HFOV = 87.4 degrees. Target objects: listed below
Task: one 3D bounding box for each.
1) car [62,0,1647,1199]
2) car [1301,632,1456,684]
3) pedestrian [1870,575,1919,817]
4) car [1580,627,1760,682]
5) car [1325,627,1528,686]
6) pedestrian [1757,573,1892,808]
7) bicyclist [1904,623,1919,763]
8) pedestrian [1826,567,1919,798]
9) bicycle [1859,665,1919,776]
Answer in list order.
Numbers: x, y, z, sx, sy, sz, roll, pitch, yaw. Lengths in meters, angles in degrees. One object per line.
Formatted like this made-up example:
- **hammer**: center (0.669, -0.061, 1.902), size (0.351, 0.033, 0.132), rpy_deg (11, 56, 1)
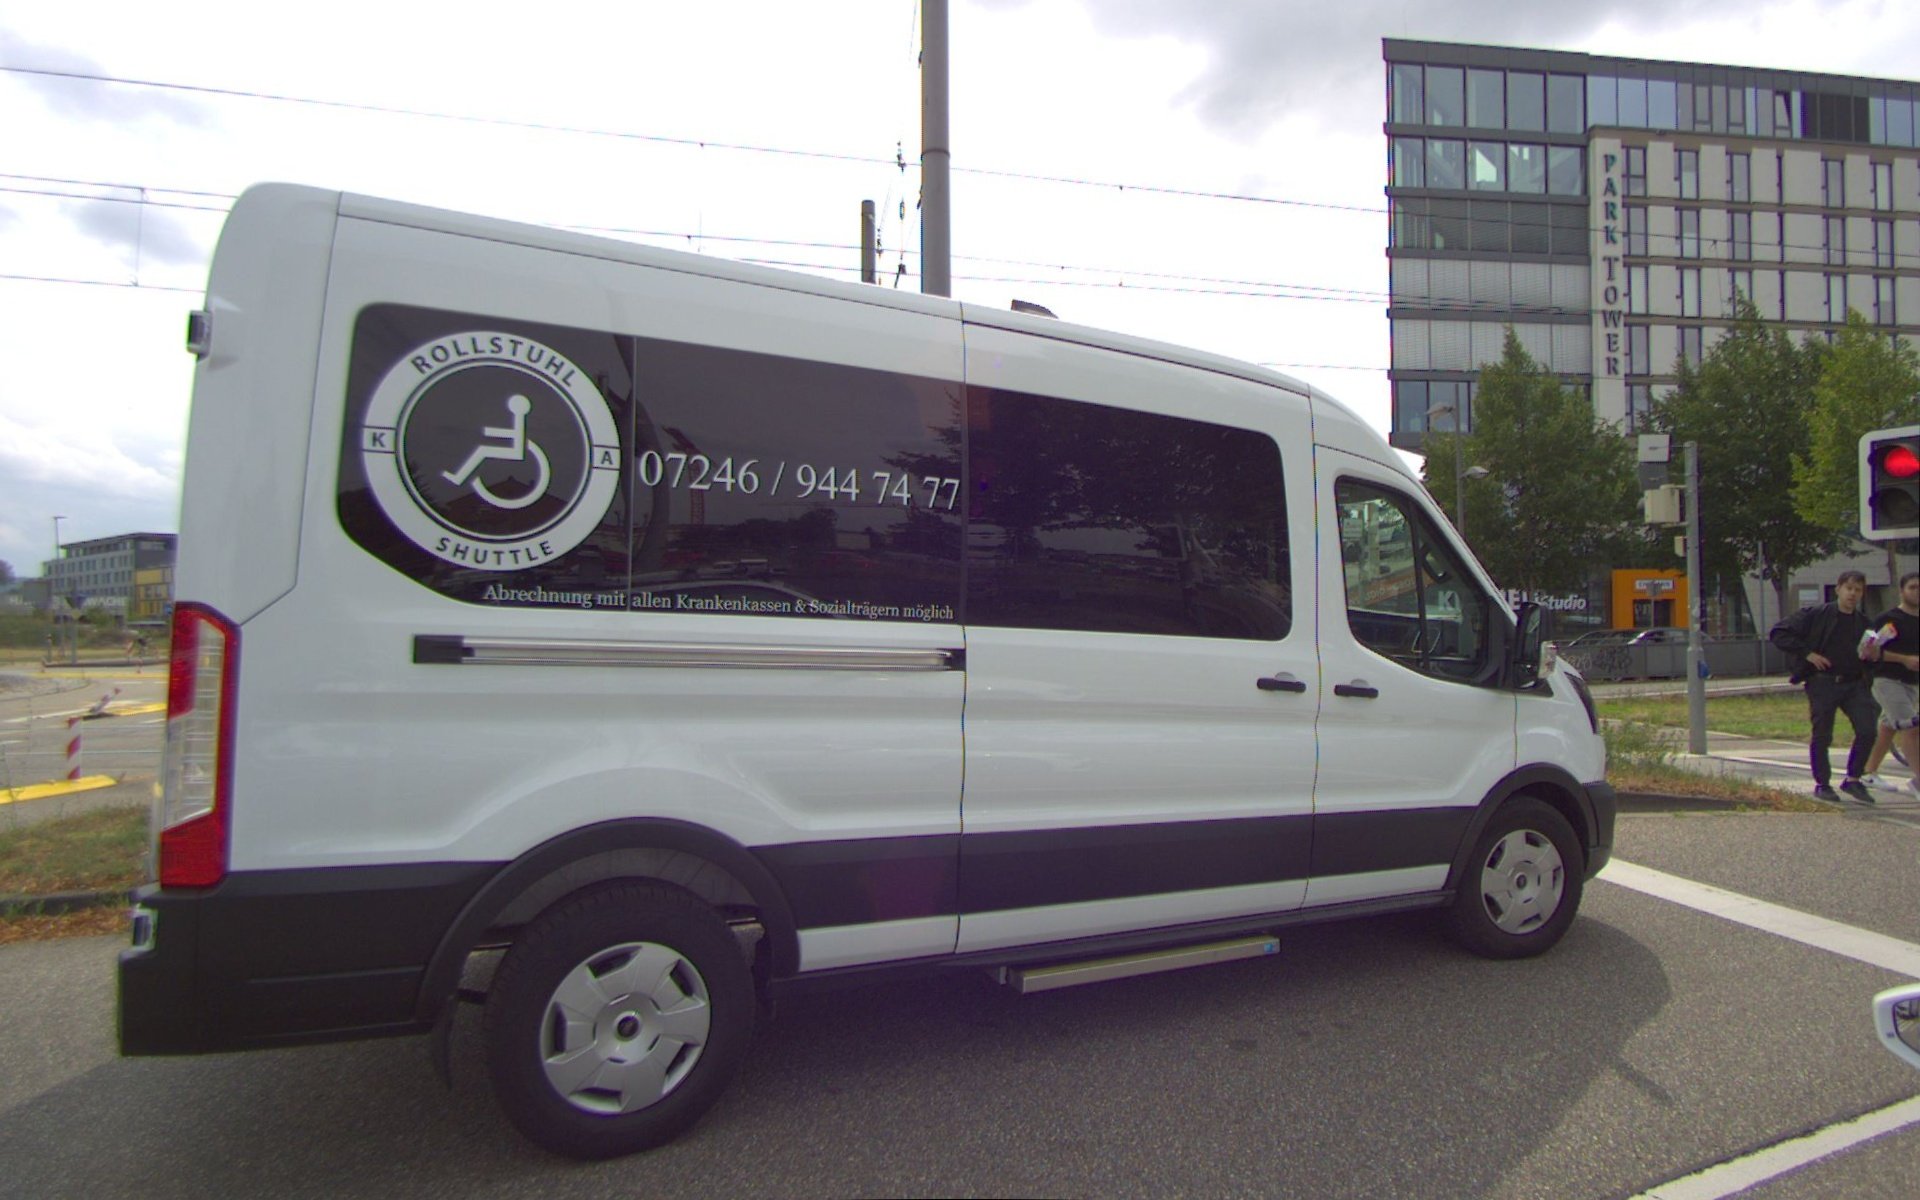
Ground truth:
- **car**: center (0.216, 0.071, 4.225), size (5.562, 2.733, 2.118), rpy_deg (0, -2, -29)
- **car**: center (12.590, 1.730, 30.357), size (3.925, 1.477, 1.847), rpy_deg (0, -1, -7)
- **pedestrian**: center (7.487, 0.720, 7.634), size (0.678, 1.805, 0.551), rpy_deg (0, -1, -14)
- **car**: center (20.048, 1.511, 28.454), size (3.925, 1.477, 1.847), rpy_deg (0, -1, -6)
- **car**: center (12.387, 1.481, 26.790), size (4.649, 1.477, 1.847), rpy_deg (0, -1, -7)
- **pedestrian**: center (6.938, 0.702, 8.078), size (0.622, 1.805, 0.551), rpy_deg (0, -1, -14)
- **bicyclist**: center (9.451, 0.878, 9.376), size (0.627, 1.334, 0.675), rpy_deg (0, -1, 2)
- **pedestrian**: center (7.851, 0.678, 8.520), size (0.522, 1.887, 0.551), rpy_deg (0, -1, -13)
- **bicycle**: center (9.445, 1.157, 9.336), size (0.641, 1.020, 1.757), rpy_deg (0, -1, 2)
